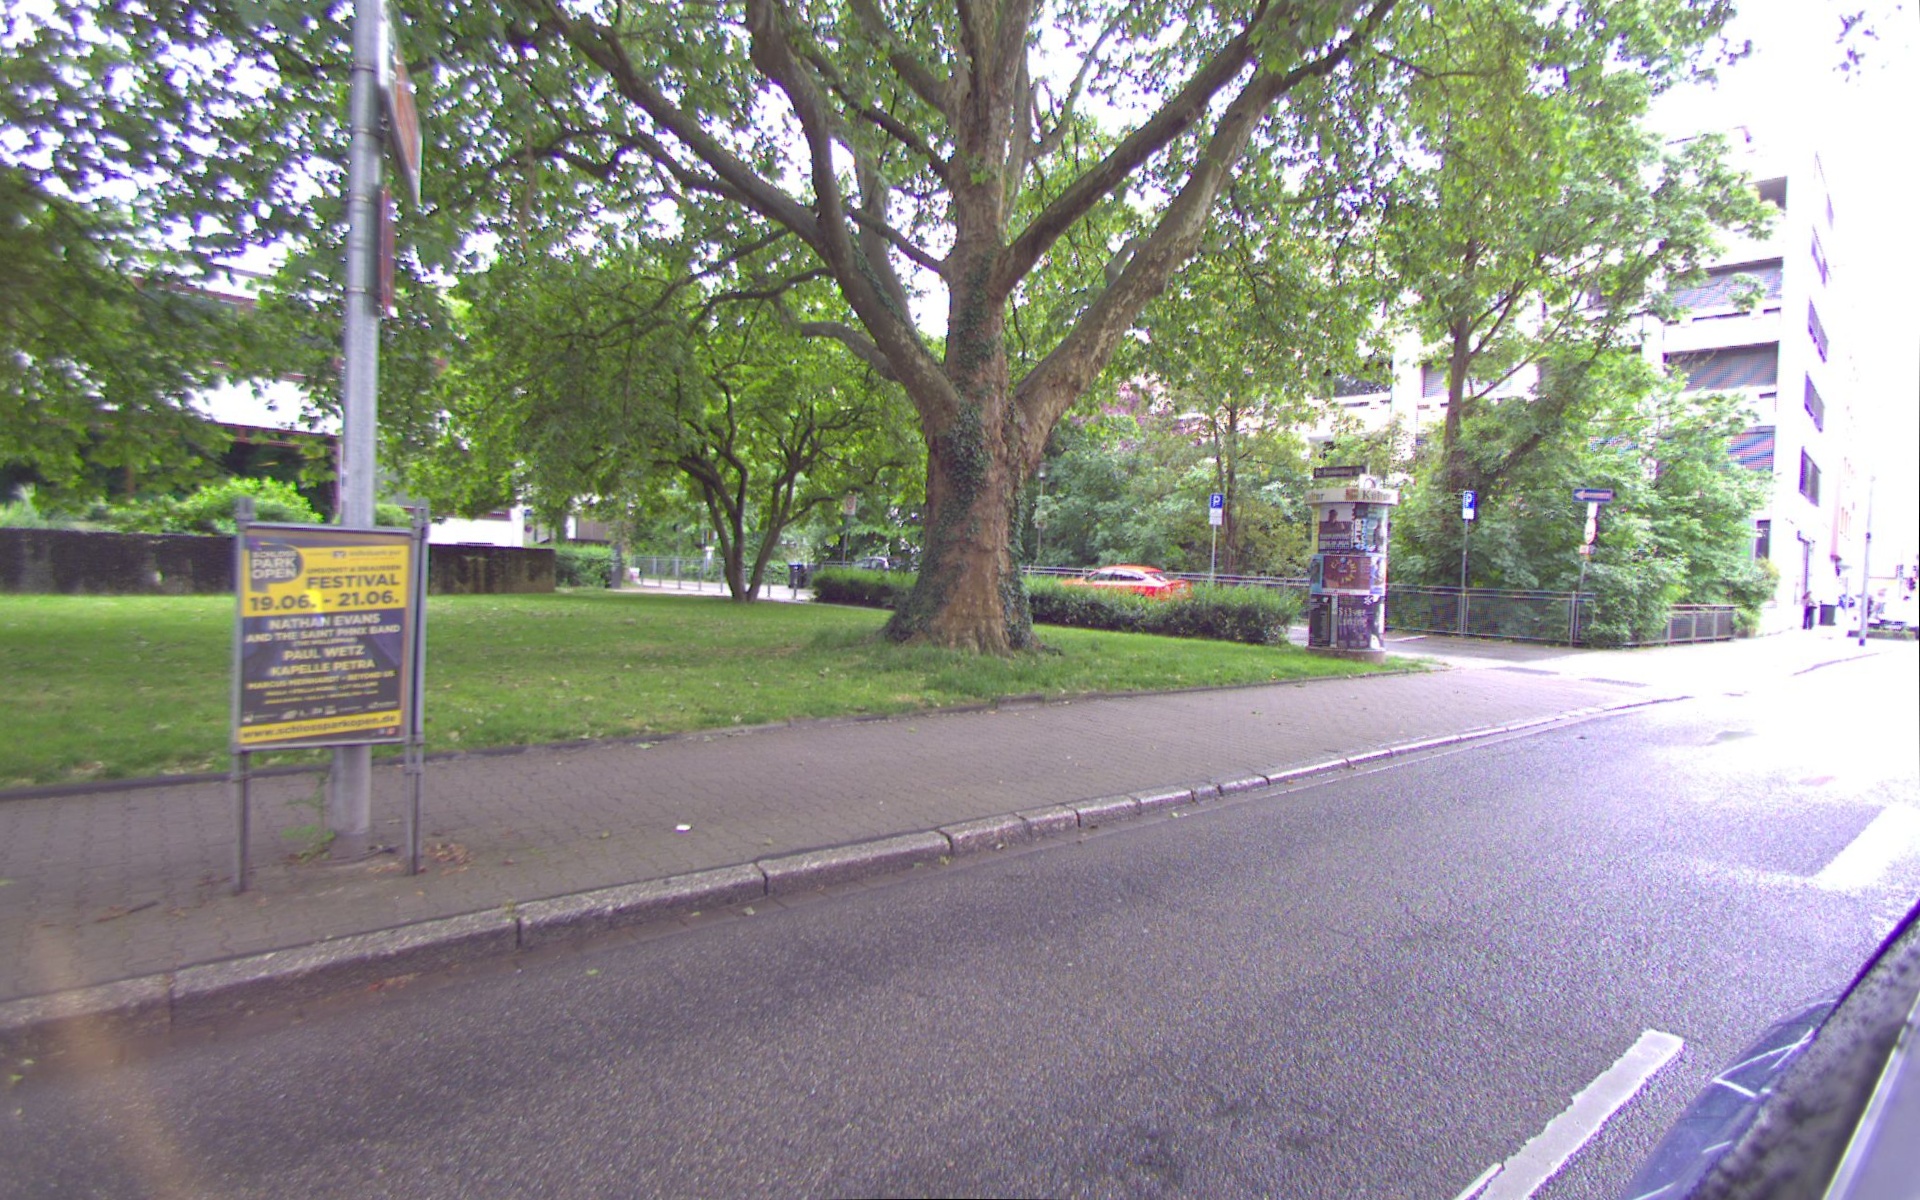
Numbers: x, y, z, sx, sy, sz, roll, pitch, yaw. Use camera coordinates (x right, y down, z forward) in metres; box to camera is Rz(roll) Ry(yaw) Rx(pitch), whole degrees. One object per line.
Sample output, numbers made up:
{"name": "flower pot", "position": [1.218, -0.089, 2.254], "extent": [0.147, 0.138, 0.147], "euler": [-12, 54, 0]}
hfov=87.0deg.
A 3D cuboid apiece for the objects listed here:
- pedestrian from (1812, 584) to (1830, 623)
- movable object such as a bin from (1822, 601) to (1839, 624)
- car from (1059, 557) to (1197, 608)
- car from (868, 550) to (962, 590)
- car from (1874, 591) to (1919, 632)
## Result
{"name": "pedestrian", "position": [35.039, 0.140, 41.183], "extent": [0.473, 1.549, 0.480], "euler": [0, 0, -41]}
{"name": "movable object such as a bin", "position": [41.899, 0.614, 48.717], "extent": [0.287, 1.054, 0.556], "euler": [0, 3, -41]}
{"name": "car", "position": [4.845, -0.544, 29.512], "extent": [1.551, 1.294, 3.784], "euler": [-1, 4, -44]}
{"name": "car", "position": [-1.668, -1.111, 36.595], "extent": [3.460, 1.294, 1.426], "euler": [5, 4, 45]}
{"name": "car", "position": [37.393, 0.450, 39.744], "extent": [3.617, 1.449, 1.681], "euler": [0, 6, -41]}
